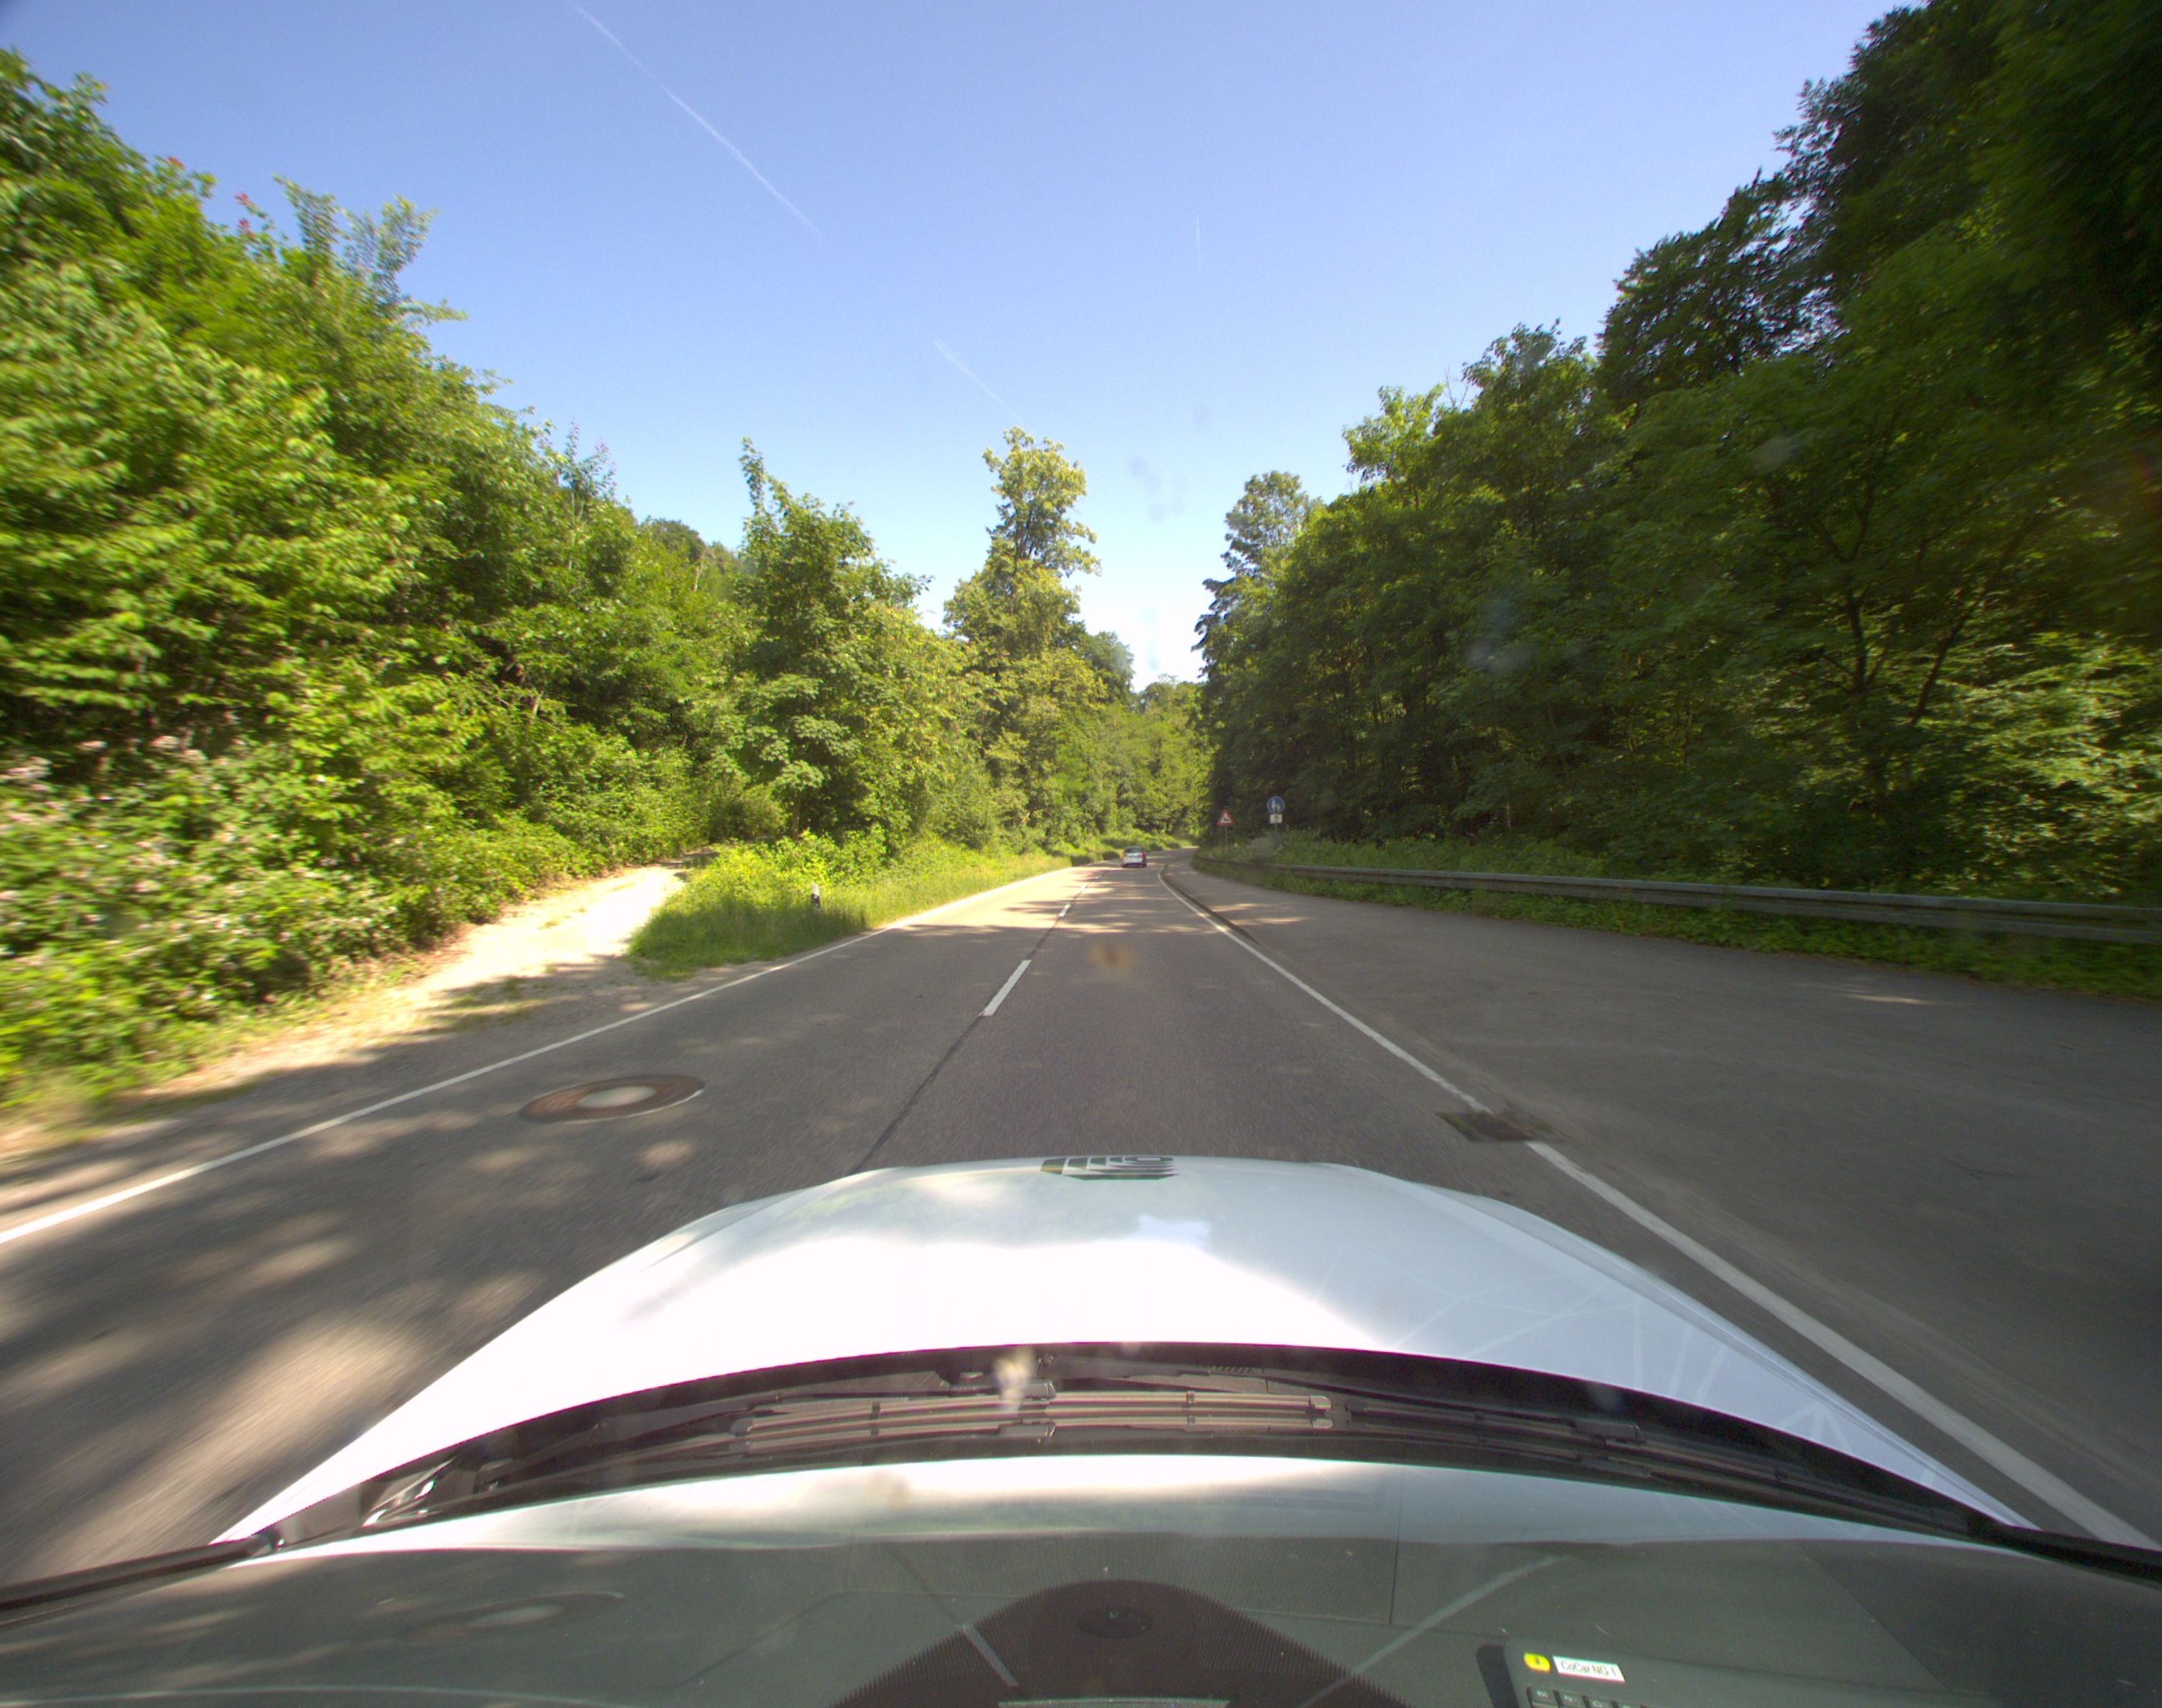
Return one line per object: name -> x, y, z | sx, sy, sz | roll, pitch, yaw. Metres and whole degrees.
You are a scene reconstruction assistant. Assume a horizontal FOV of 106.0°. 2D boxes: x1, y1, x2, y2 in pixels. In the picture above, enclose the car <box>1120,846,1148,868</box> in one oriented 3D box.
car -> 4.003, 0.186, 60.930 | 1.741, 1.520, 4.170 | -1, 1, 9
